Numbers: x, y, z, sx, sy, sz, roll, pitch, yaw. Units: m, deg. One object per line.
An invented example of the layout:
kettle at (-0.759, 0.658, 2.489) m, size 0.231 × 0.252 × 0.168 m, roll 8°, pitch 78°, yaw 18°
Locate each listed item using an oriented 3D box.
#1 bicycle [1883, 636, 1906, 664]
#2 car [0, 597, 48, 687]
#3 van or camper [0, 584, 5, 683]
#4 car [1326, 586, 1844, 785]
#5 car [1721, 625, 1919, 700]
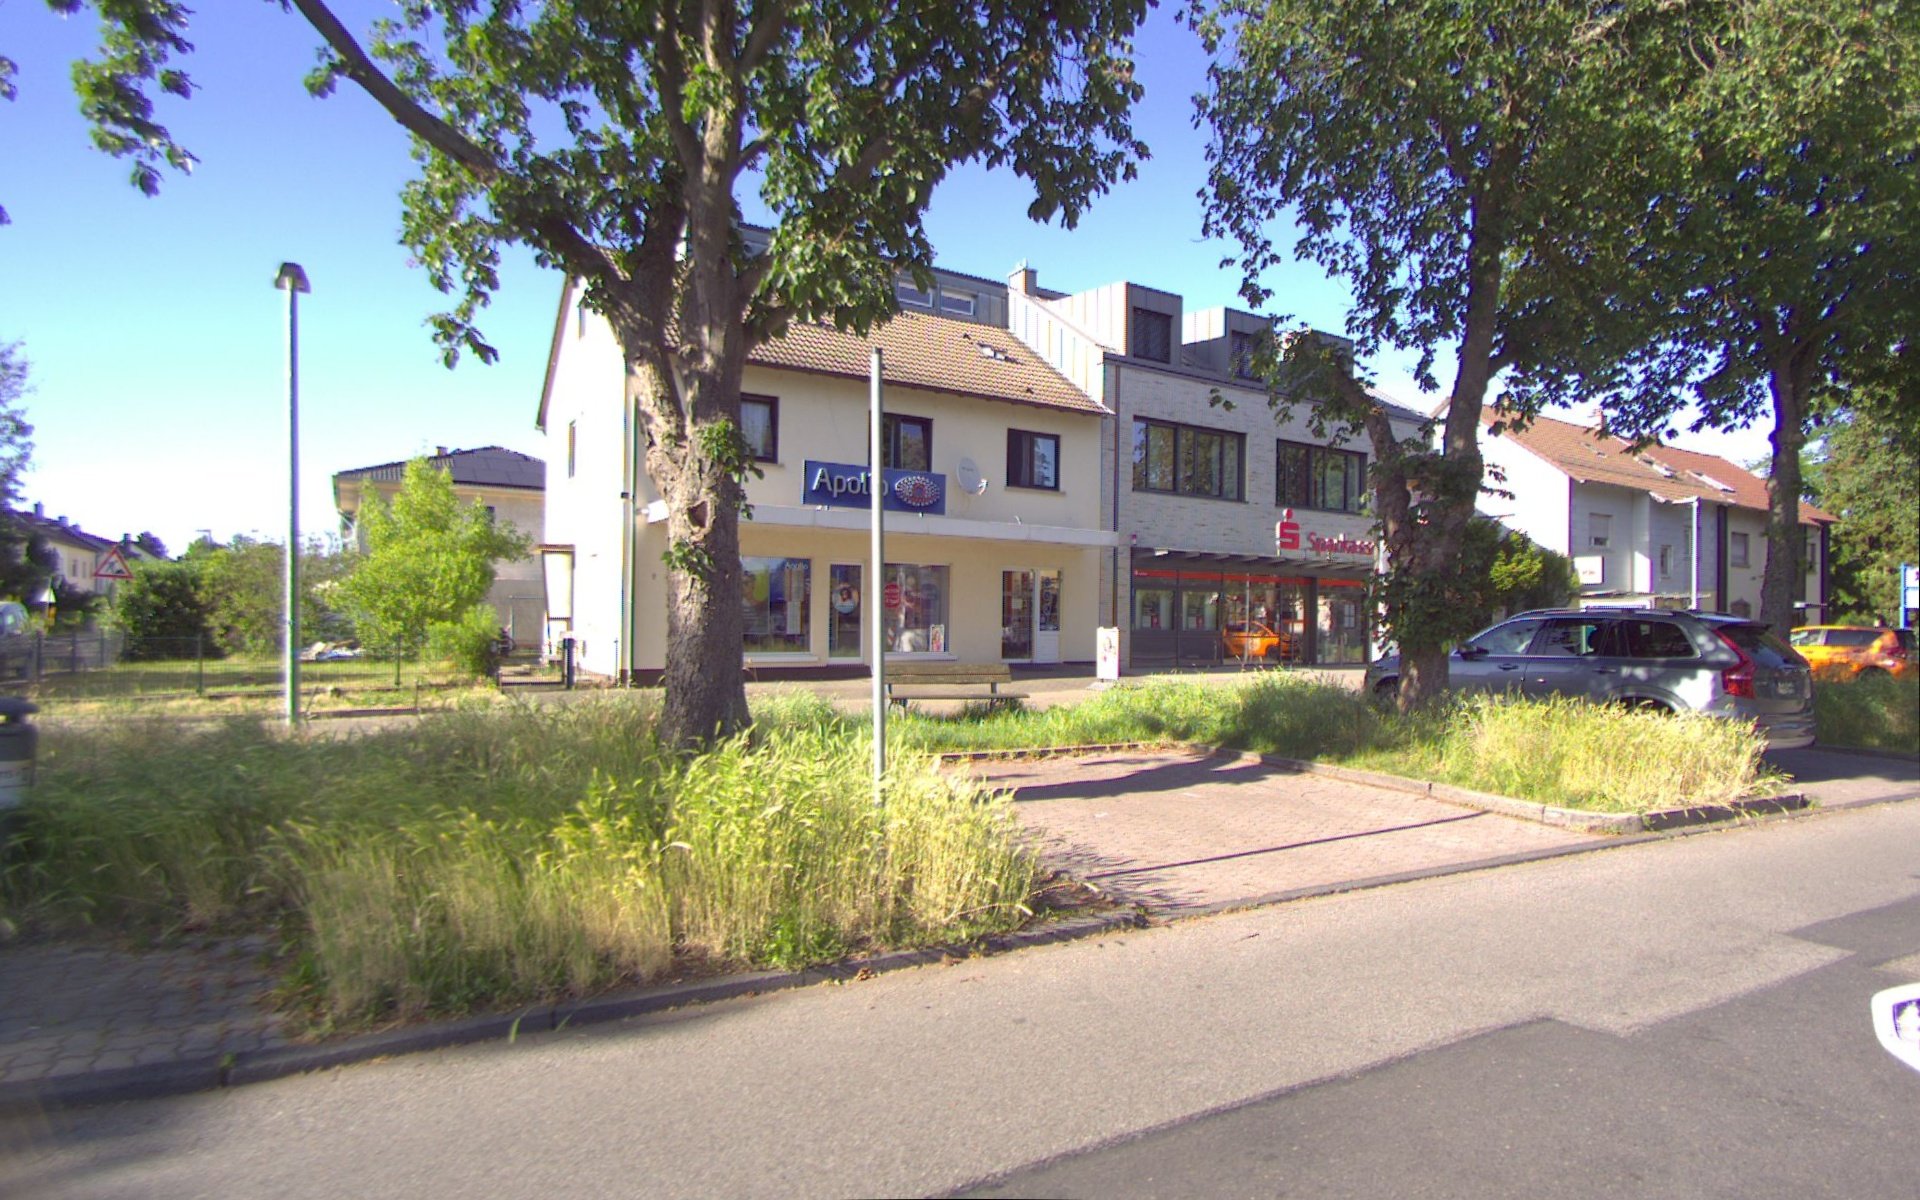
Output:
bicycle at (44.219, 2.340, 47.500) m, size 0.696 × 1.192 × 4.031 m, roll 0°, pitch -1°, yaw 44°
car at (-22.011, 0.869, 22.319) m, size 1.980 × 1.854 × 3.962 m, roll 2°, pitch 0°, yaw -34°
van or camper at (-19.401, 0.639, 18.194) m, size 1.977 × 2.040 × 4.649 m, roll 2°, pitch -1°, yaw -31°
car at (7.319, 0.832, 12.431) m, size 1.978 × 1.751 × 5.032 m, roll 2°, pitch 2°, yaw -32°
car at (21.538, 1.480, 24.805) m, size 1.851 × 1.563 × 3.962 m, roll 2°, pitch 0°, yaw -33°
